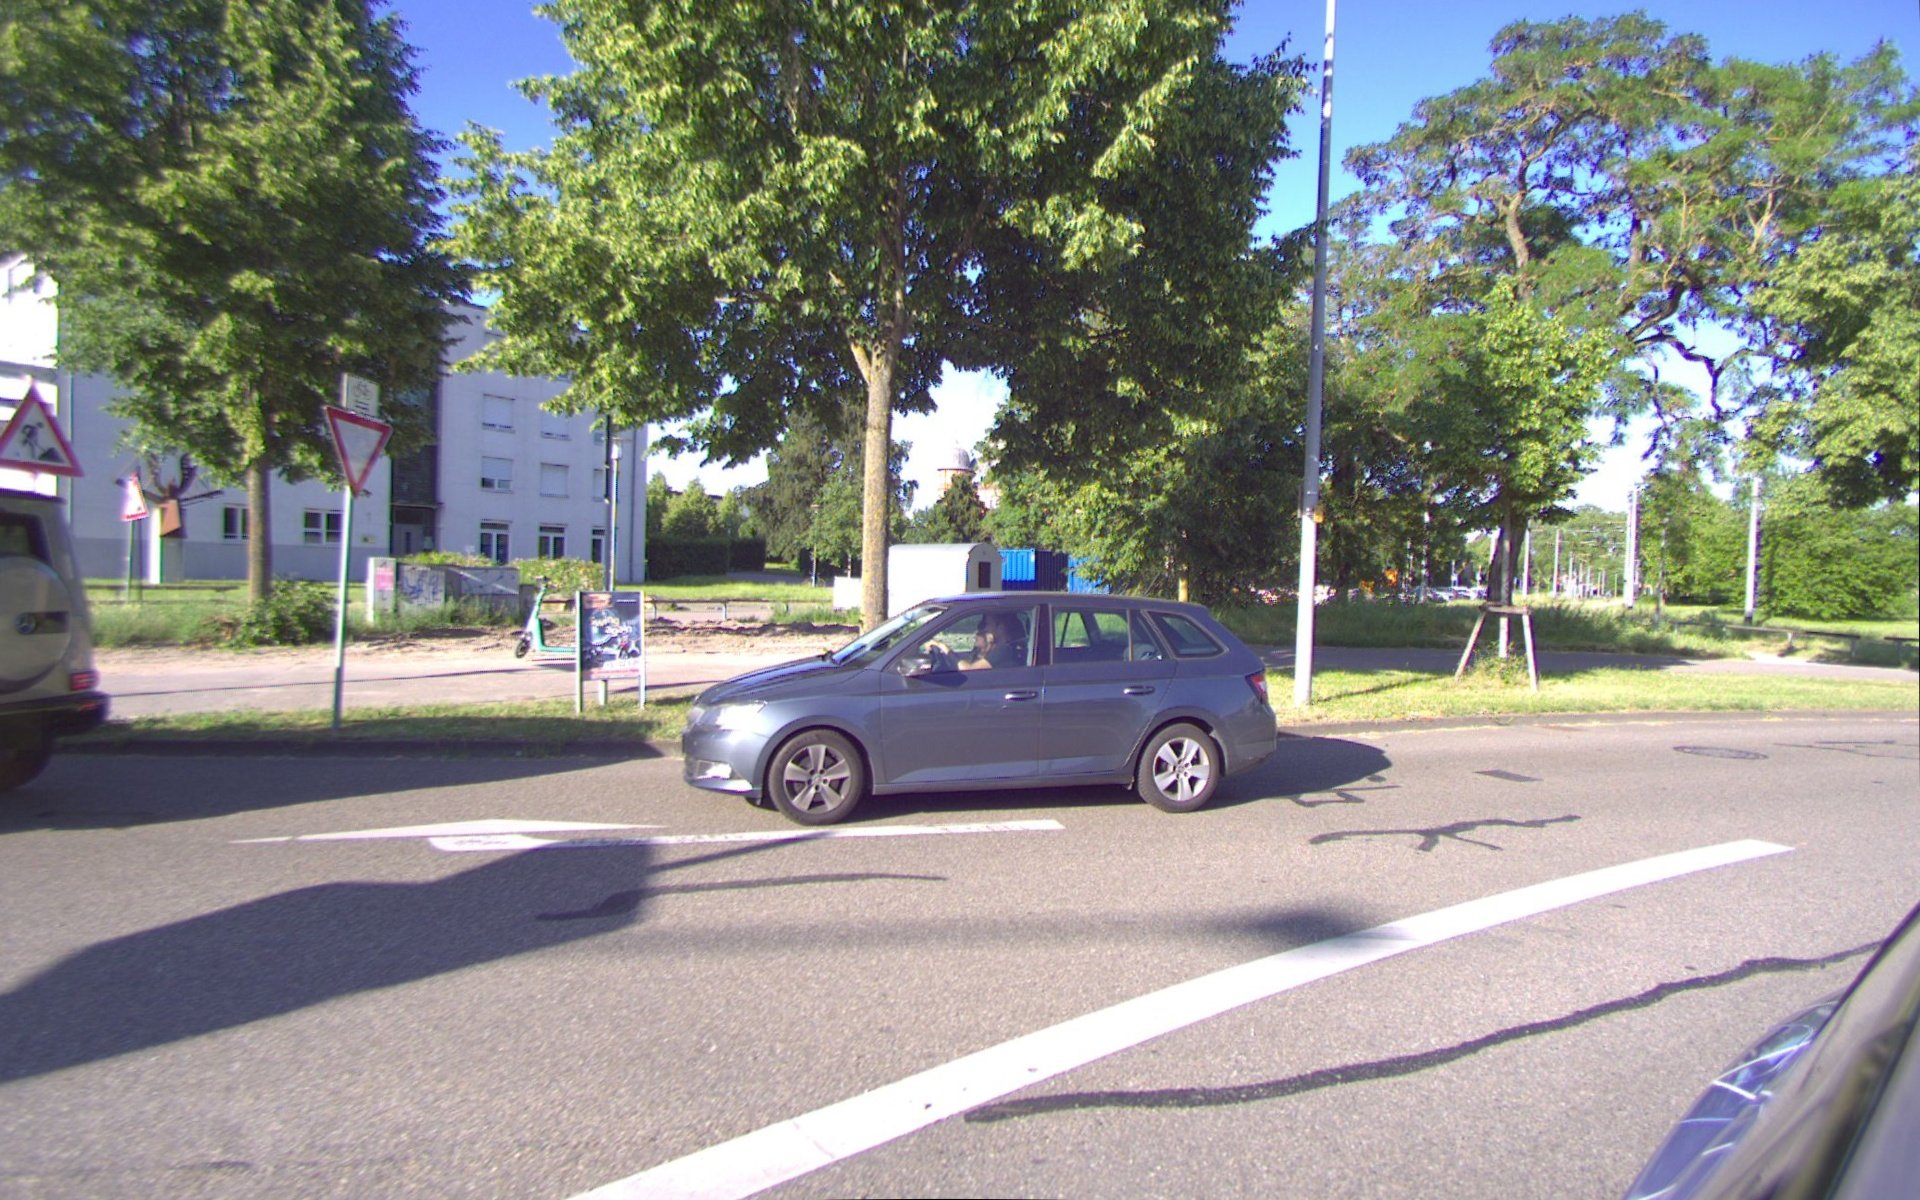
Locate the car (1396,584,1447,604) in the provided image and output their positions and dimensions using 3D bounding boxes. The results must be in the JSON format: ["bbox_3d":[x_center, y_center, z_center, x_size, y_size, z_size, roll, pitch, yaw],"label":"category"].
[{"bbox_3d":[42.246,-0.560,92.721,3.974,1.778,1.890,1,0,35],"label":"car"}]

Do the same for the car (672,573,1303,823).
[{"bbox_3d":[0.114,0.577,7.187,4.064,1.454,1.723,1,1,-13],"label":"car"}]

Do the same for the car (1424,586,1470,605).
[{"bbox_3d":[49.178,-0.453,102.172,3.974,1.778,1.890,1,0,35],"label":"car"}]

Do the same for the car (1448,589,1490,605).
[{"bbox_3d":[57.514,-0.324,114.330,3.974,1.778,1.890,1,0,35],"label":"car"}]

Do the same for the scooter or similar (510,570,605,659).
[{"bbox_3d":[-5.886,0.196,14.817,1.240,1.263,0.445,0,0,-32],"label":"scooter or similar"}]

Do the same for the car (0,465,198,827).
[{"bbox_3d":[-7.437,0.190,5.754,4.660,1.921,2.005,1,1,-2],"label":"car"}]

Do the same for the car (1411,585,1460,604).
[{"bbox_3d":[45.363,-0.512,96.591,3.974,1.778,1.890,1,0,35],"label":"car"}]

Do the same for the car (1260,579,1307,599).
[{"bbox_3d":[31.448,-1.060,98.364,3.974,1.920,1.975,1,0,35],"label":"car"}]

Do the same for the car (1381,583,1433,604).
[{"bbox_3d":[39.755,-0.599,90.080,3.974,1.778,1.975,1,0,35],"label":"car"}]
